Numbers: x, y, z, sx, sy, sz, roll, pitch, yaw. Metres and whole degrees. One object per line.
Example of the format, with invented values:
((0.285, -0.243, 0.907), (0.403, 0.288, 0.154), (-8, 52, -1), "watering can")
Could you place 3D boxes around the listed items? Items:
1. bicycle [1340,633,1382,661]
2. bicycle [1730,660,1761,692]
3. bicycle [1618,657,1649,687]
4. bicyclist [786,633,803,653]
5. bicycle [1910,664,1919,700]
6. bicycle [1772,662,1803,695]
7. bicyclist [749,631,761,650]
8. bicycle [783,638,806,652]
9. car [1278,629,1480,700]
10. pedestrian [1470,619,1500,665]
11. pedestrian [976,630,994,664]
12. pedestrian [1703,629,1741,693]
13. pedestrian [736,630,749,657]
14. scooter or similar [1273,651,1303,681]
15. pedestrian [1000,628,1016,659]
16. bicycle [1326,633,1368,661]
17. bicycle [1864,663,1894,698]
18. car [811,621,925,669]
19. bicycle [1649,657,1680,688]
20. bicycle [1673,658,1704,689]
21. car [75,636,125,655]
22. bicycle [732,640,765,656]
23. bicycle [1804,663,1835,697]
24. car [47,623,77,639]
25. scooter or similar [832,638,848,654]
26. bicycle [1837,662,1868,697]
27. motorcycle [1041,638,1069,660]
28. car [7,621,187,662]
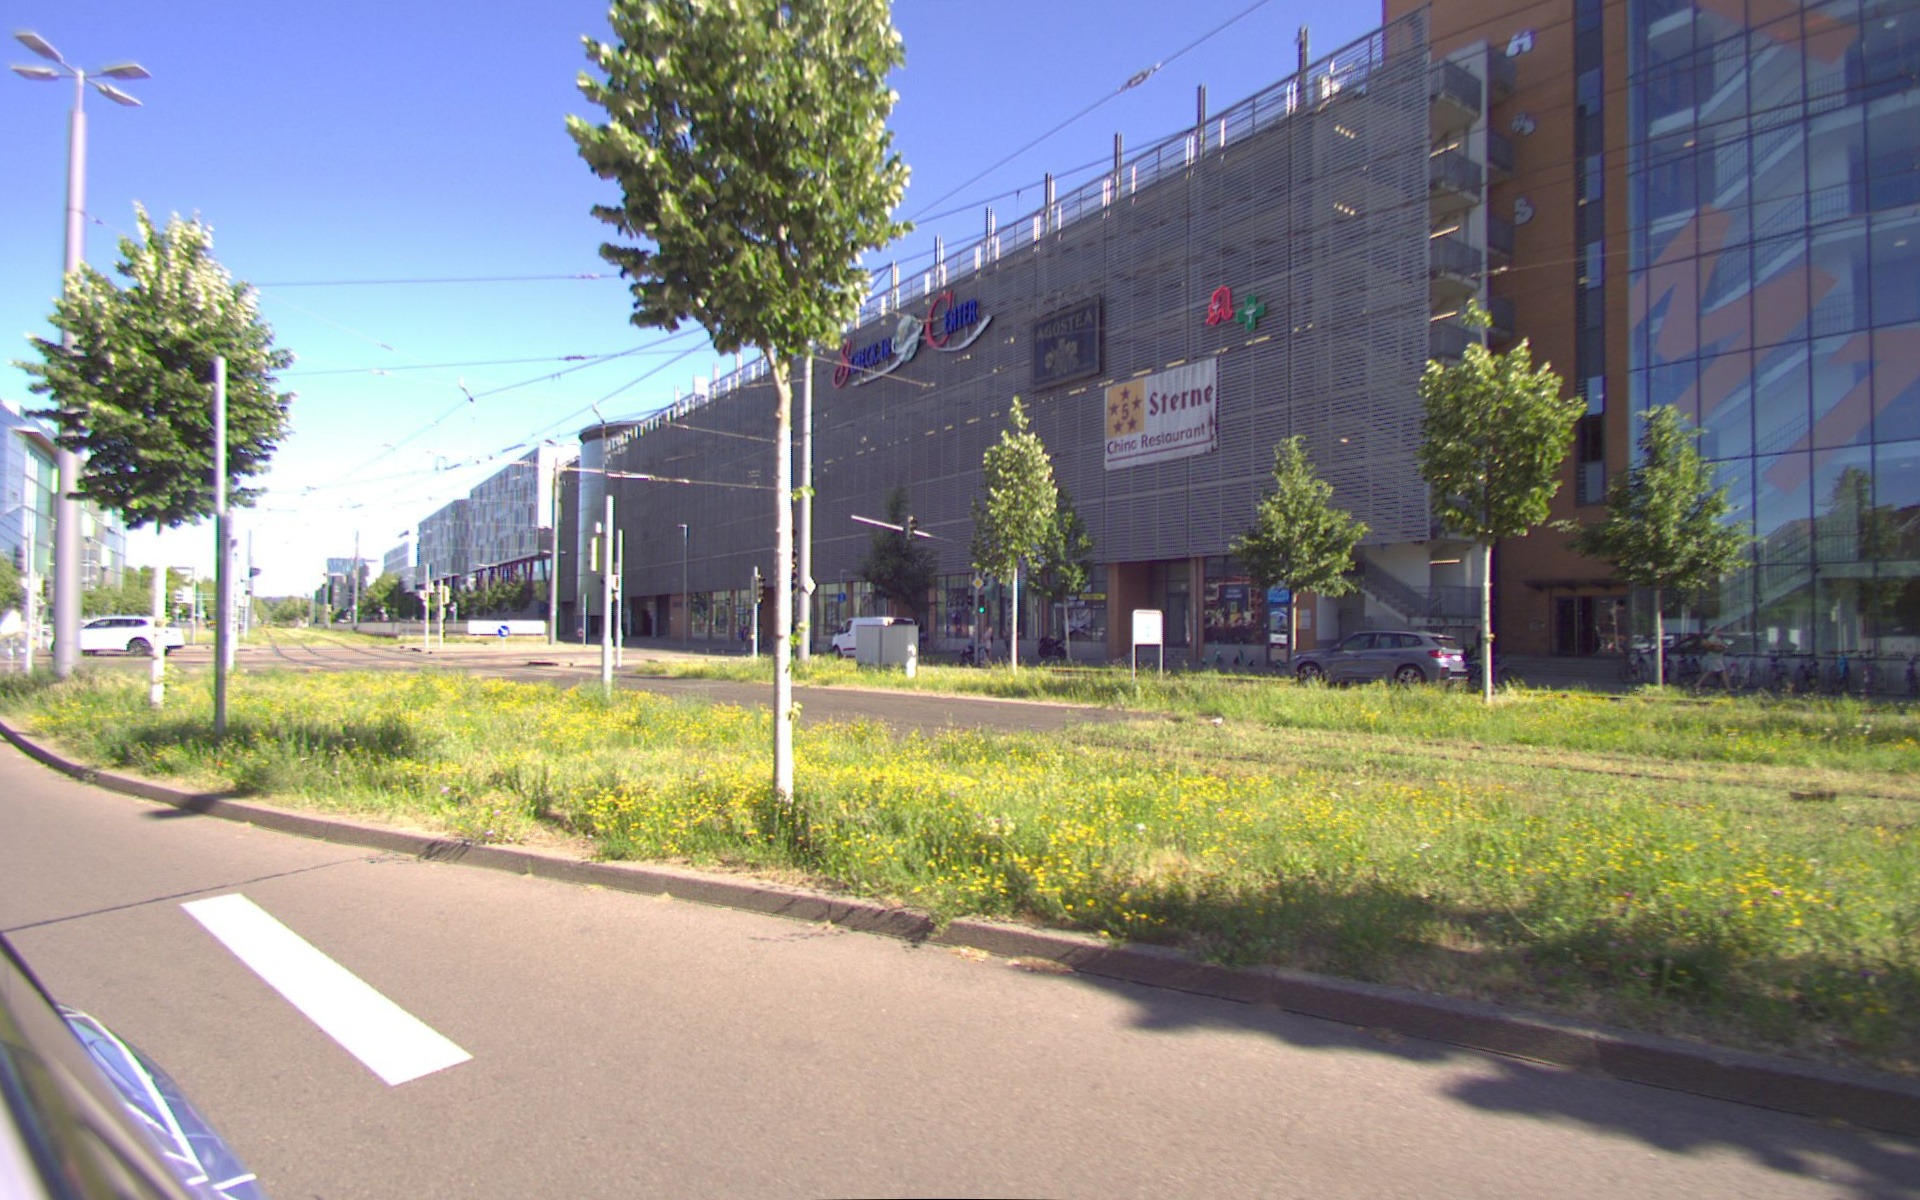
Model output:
((14.409, 1.680, 36.321), (2.147, 0.962, 0.493), (0, -1, -43), "bicycle")
((21.941, 2.114, 28.270), (1.429, 0.825, 0.446), (0, -1, -43), "bicycle")
((20.334, 2.173, 30.541), (1.429, 0.825, 0.446), (0, -1, -43), "bicycle")
((-11.220, 2.924, 68.602), (0.671, 1.328, 1.042), (2, -2, -37), "bicyclist")
((24.161, 2.037, 25.324), (1.429, 0.825, 0.446), (0, -1, -43), "bicycle")
((22.513, 2.119, 27.533), (1.429, 0.825, 0.446), (0, -1, -43), "bicycle")
((-12.721, 2.527, 62.841), (0.559, 1.148, 0.556), (0, -2, 20), "bicyclist")
((-11.237, 3.048, 68.646), (0.671, 0.874, 2.052), (2, -2, -37), "bicycle")
((10.939, 1.618, 26.631), (4.539, 1.694, 1.971), (-1, -2, 44), "car")
((18.213, 1.460, 35.107), (0.626, 1.565, 0.663), (1, -2, -31), "pedestrian")
((1.112, 2.069, 44.804), (0.481, 1.498, 0.743), (1, -2, -27), "pedestrian")
((20.698, 1.640, 27.480), (0.778, 1.698, 0.589), (-1, -2, 40), "pedestrian")
((-13.932, 2.779, 64.811), (0.624, 1.765, 0.582), (-1, -2, 35), "pedestrian")
((12.769, 2.569, 39.418), (0.272, 1.111, 1.209), (2, -1, -34), "scooter or similar")
((2.371, 2.150, 50.152), (0.483, 1.530, 0.651), (2, -2, -32), "pedestrian")
((14.044, 1.686, 36.701), (2.147, 0.962, 0.493), (0, -1, -43), "bicycle")
((23.613, 2.051, 26.001), (1.429, 0.825, 0.446), (0, -1, -43), "bicycle")
((-4.190, 1.956, 45.252), (5.257, 2.029, 2.196), (-1, -2, 44), "car")
((20.873, 2.144, 29.960), (1.429, 0.825, 0.446), (0, -1, -43), "bicycle")
((21.252, 2.139, 29.519), (1.429, 0.825, 0.446), (0, -1, -43), "bicycle")
((-53.231, 2.789, 62.688), (1.967, 1.098, 4.010), (1, -2, -35), "car")
((-13.157, 2.979, 63.002), (2.006, 0.993, 0.556), (0, -2, 21), "bicycle")
((22.925, 2.123, 26.994), (1.429, 0.825, 0.446), (0, -1, -43), "bicycle")
((-97.584, 3.390, 109.998), (1.967, 1.741, 4.010), (2, -2, -35), "car")
((-6.836, 2.621, 57.550), (0.296, 0.857, 1.229), (2, -2, -39), "scooter or similar")
((23.295, 2.065, 26.415), (1.429, 0.825, 0.446), (0, -1, -43), "bicycle")
((4.574, 2.354, 48.868), (0.395, 1.046, 1.623), (2, -2, -36), "motorcycle")
((-35.761, 1.732, 42.088), (5.454, 1.664, 1.818), (1, -2, -12), "car")
